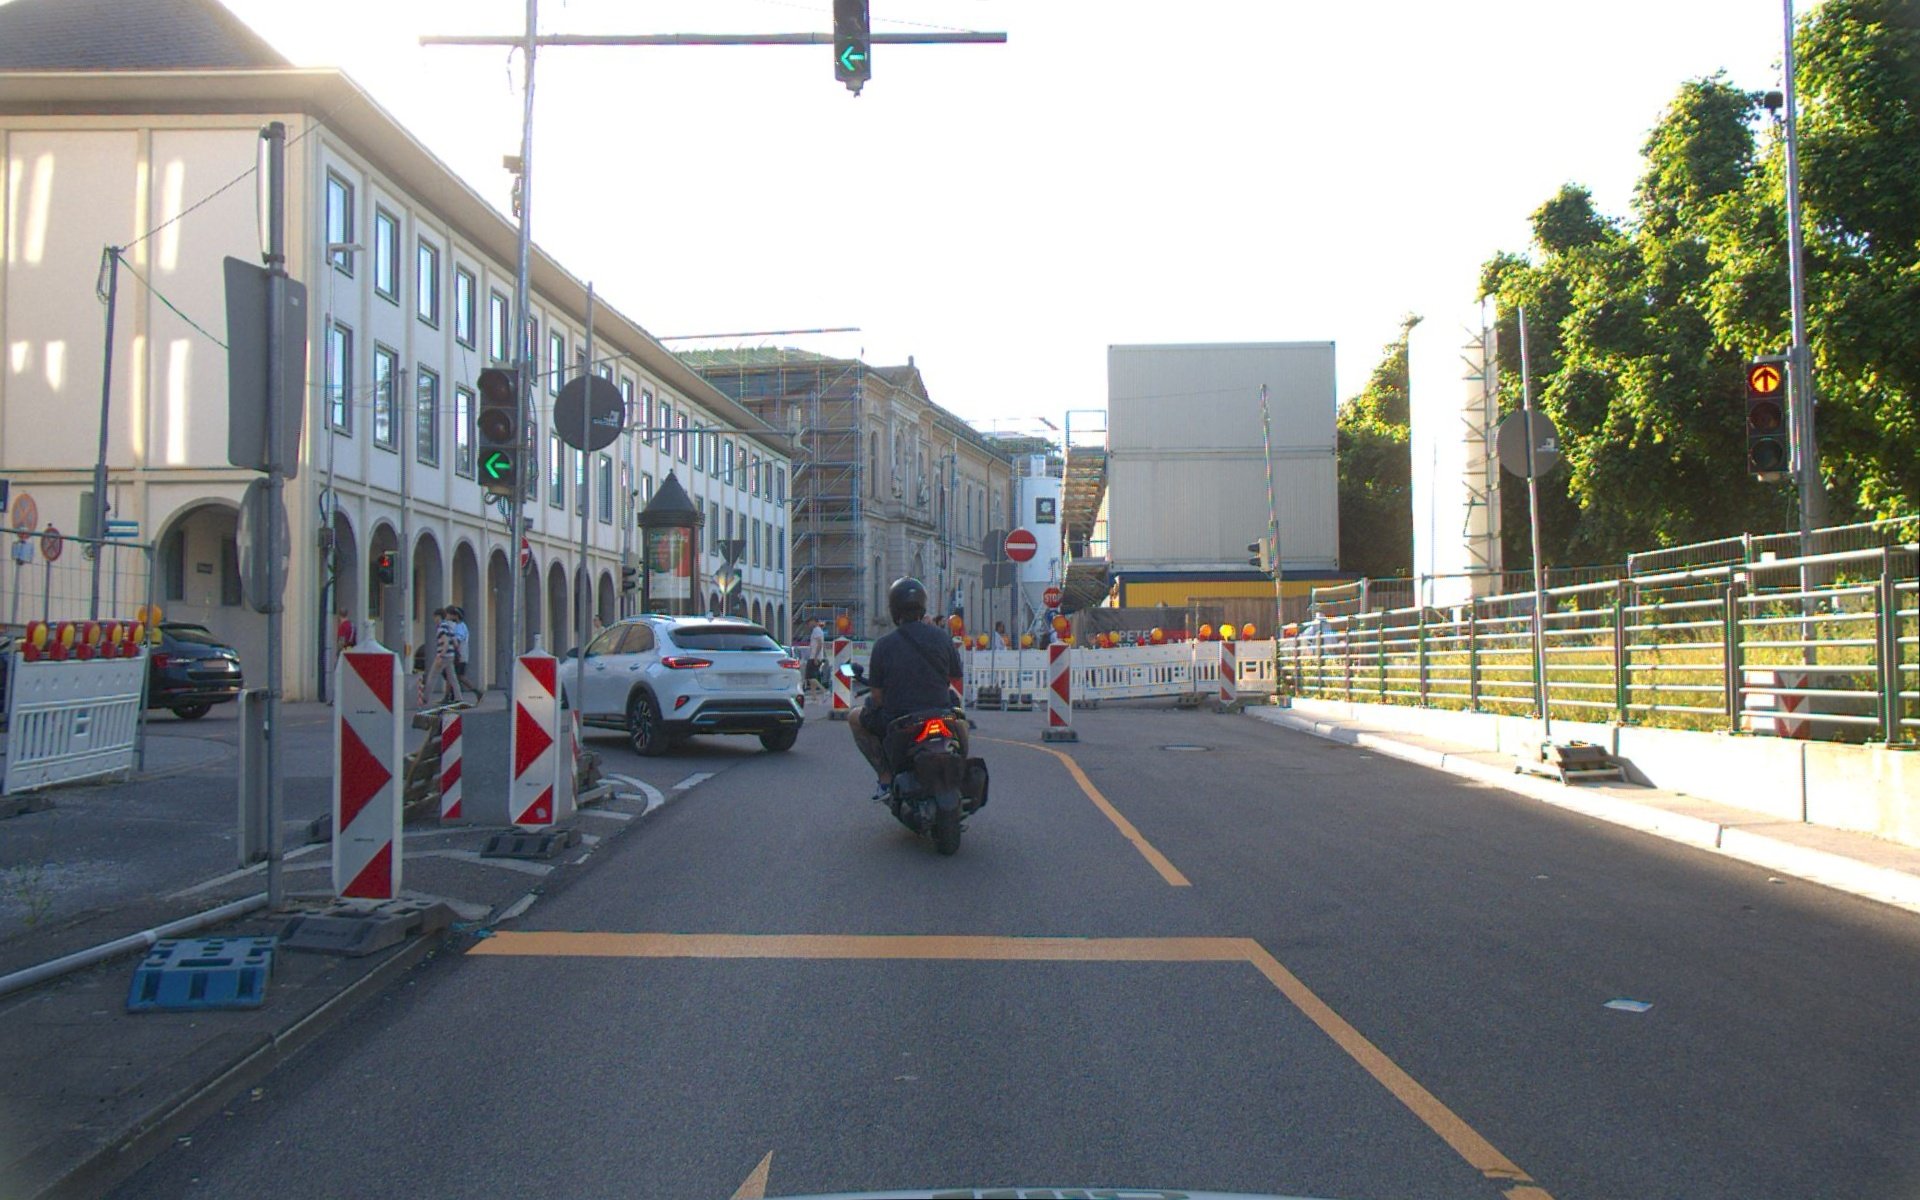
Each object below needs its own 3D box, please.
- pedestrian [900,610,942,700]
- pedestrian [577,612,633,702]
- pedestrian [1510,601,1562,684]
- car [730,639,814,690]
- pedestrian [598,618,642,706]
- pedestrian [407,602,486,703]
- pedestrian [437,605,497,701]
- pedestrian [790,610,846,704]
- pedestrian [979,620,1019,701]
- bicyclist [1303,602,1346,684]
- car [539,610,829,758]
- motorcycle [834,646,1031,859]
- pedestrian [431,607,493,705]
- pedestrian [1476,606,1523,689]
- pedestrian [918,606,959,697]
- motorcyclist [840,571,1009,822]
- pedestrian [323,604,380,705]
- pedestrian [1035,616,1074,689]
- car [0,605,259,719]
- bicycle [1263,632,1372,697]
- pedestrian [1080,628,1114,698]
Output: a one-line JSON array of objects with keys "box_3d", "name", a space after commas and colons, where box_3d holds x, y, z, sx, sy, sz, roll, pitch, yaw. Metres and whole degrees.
[{"box_3d": [-0.764, 1.087, 32.770, 0.721, 1.746, 0.622, -2, -2, 4], "name": "pedestrian"}, {"box_3d": [-6.966, 1.106, 32.485, 0.945, 1.739, 0.675, 0, 1, 0], "name": "pedestrian"}, {"box_3d": [11.328, 0.836, 32.529, 0.654, 1.593, 0.740, -3, -2, 44], "name": "pedestrian"}, {"box_3d": [-5.916, 2.082, 52.467, 1.884, 1.492, 4.001, 1, -3, 5], "name": "car"}, {"box_3d": [-6.516, 1.172, 31.725, 0.710, 1.652, 0.620, 0, 1, 0], "name": "pedestrian"}, {"box_3d": [-9.548, 0.970, 30.780, 1.217, 1.833, 0.716, -1, 1, 0], "name": "pedestrian"}, {"box_3d": [-9.553, 1.014, 32.068, 0.919, 1.808, 0.711, -1, 1, 0], "name": "pedestrian"}, {"box_3d": [-2.728, 1.100, 31.795, 0.954, 1.759, 0.798, -2, -2, 0], "name": "pedestrian"}, {"box_3d": [0.807, 1.254, 34.292, 0.752, 1.647, 0.666, -2, -2, 4], "name": "pedestrian"}, {"box_3d": [6.921, 0.814, 31.390, 0.687, 1.543, 0.686, 0, -2, 4], "name": "bicyclist"}, {"box_3d": [-3.290, 0.895, 19.124, 1.843, 1.498, 3.953, 2, -1, -34], "name": "car"}, {"box_3d": [-0.254, 0.939, 11.144, 0.889, 1.204, 2.571, 0, -1, -11], "name": "motorcycle"}, {"box_3d": [-9.454, 1.059, 31.425, 0.919, 1.808, 0.711, -1, 1, 0], "name": "pedestrian"}, {"box_3d": [10.878, 0.960, 33.368, 0.721, 1.632, 0.644, -2, -2, 4], "name": "pedestrian"}, {"box_3d": [-0.425, 1.038, 33.548, 0.721, 1.802, 0.622, -2, -2, 4], "name": "pedestrian"}, {"box_3d": [-0.268, 0.613, 11.141, 0.937, 1.587, 1.235, 0, -1, -11], "name": "motorcyclist"}, {"box_3d": [-11.281, 1.002, 30.665, 0.757, 1.833, 0.711, -1, 1, 0], "name": "pedestrian"}, {"box_3d": [1.957, 1.081, 34.168, 0.752, 1.488, 0.666, -2, -2, 4], "name": "pedestrian"}, {"box_3d": [-12.546, 0.901, 24.250, 4.007, 1.577, 1.780, -1, -1, 19], "name": "car"}, {"box_3d": [6.768, 1.226, 31.365, 1.950, 1.222, 0.477, 0, -2, 3], "name": "bicycle"}, {"box_3d": [2.651, 1.219, 32.025, 0.605, 1.322, 0.494, 2, -1, 3], "name": "pedestrian"}]
